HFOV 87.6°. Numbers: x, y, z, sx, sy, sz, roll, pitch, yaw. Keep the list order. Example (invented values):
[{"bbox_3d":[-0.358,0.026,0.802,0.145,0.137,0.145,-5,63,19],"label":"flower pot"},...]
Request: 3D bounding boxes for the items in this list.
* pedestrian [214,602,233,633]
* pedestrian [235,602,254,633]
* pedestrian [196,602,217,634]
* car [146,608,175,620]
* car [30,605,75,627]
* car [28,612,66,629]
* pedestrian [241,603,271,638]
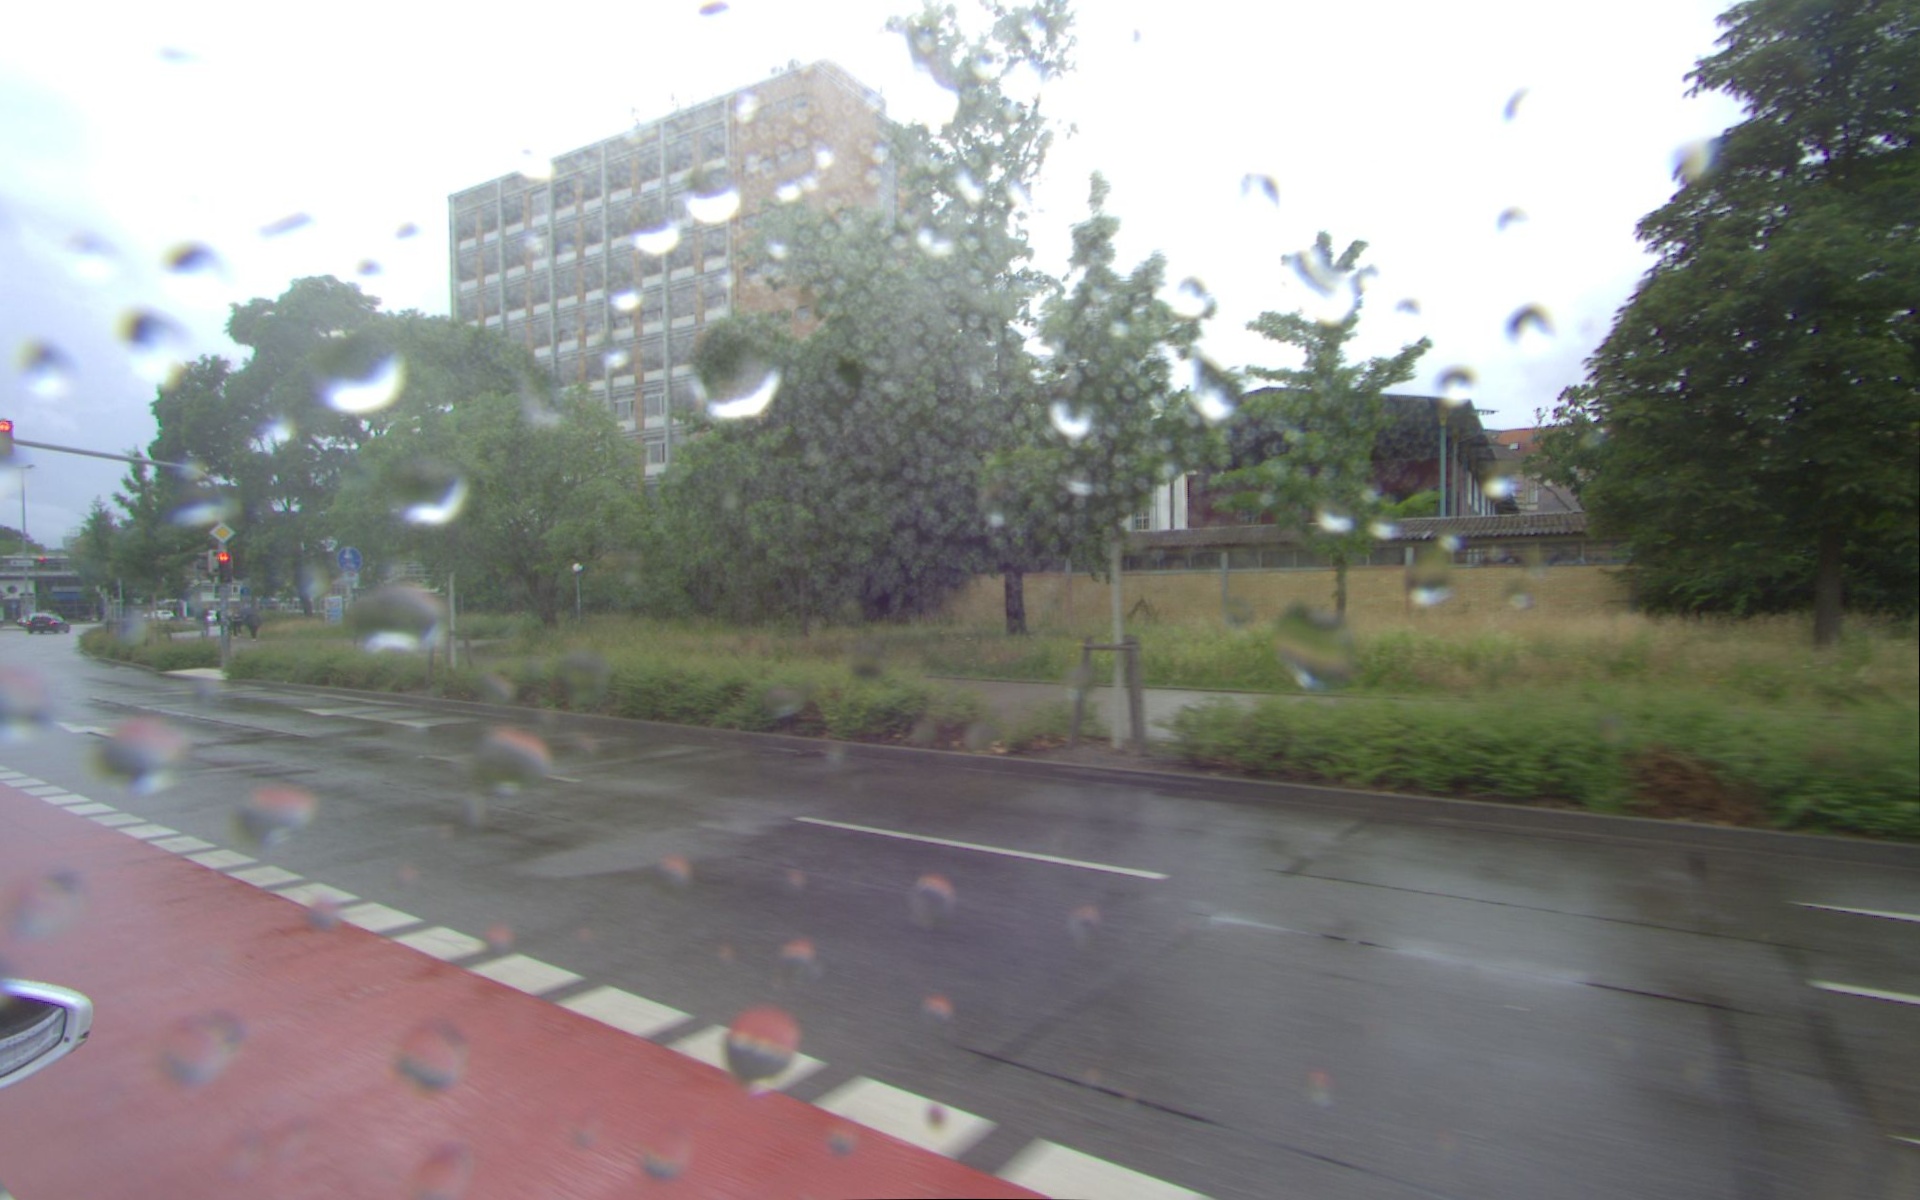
[{"bbox_3d":[-38.255,0.912,52.000,0.698,1.609,0.928,-1,1,-42],"label":"pedestrian"},{"bbox_3d":[-37.679,0.903,52.751,0.698,1.609,0.928,-1,1,-42],"label":"pedestrian"},{"bbox_3d":[-38.485,0.902,51.143,0.748,1.609,0.928,-1,1,-42],"label":"pedestrian"},{"bbox_3d":[-114.886,1.956,143.912,1.764,1.665,4.388,0,0,-17],"label":"car"},{"bbox_3d":[-72.512,1.262,80.078,1.770,1.665,4.137,0,0,-30],"label":"car"},{"bbox_3d":[-95.845,2.134,105.134,1.672,1.436,4.164,-1,4,-24],"label":"car"},{"bbox_3d":[-32.810,0.946,46.661,1.015,1.609,0.928,-1,1,-42],"label":"pedestrian"}]
